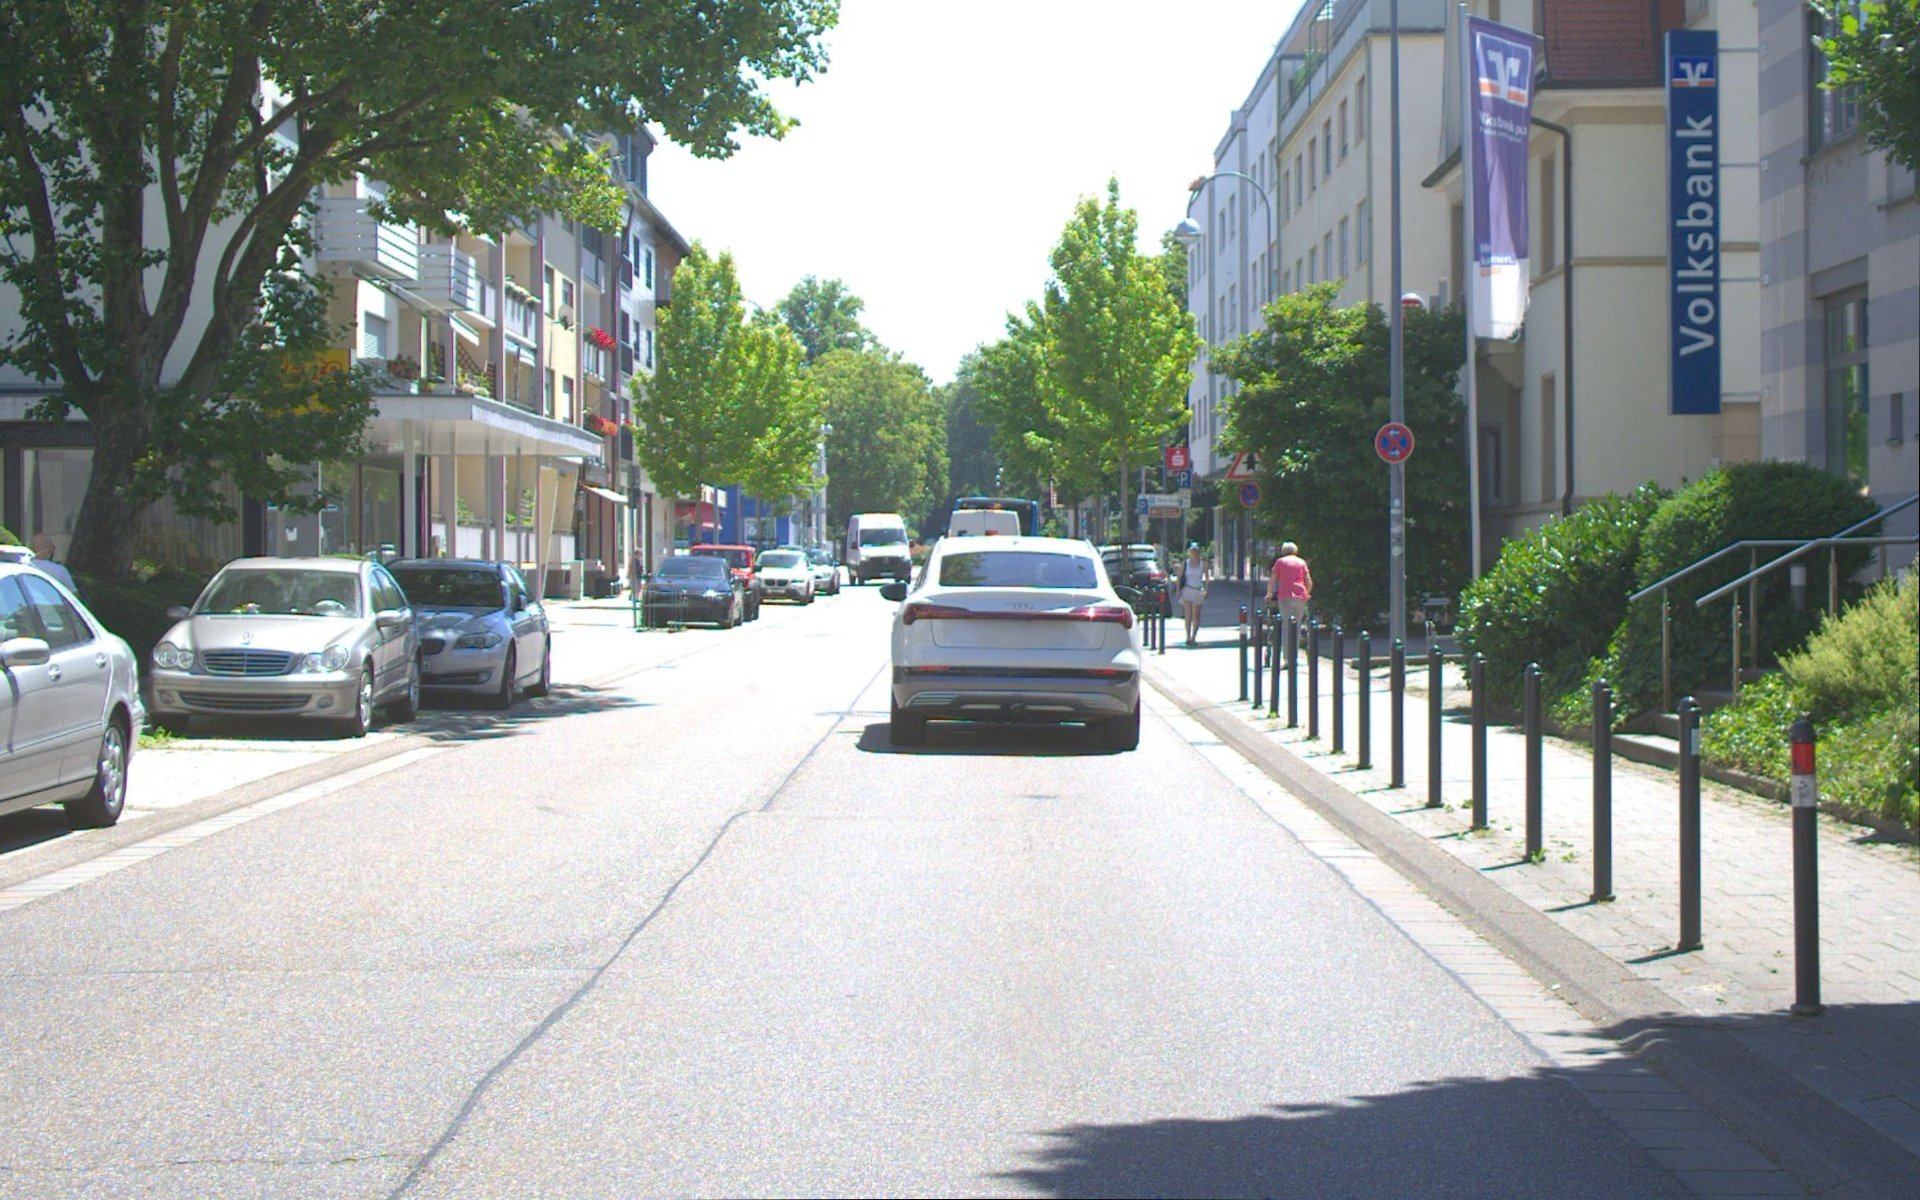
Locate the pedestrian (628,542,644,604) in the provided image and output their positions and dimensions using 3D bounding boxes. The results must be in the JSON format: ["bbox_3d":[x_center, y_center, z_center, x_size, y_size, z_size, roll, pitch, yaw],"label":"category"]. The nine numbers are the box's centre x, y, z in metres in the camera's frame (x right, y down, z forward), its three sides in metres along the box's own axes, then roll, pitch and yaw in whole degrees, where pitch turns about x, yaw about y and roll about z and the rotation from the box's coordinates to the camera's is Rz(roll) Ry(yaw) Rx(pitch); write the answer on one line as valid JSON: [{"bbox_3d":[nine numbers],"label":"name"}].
[{"bbox_3d":[-9.051,-0.760,96.066,0.394,1.729,0.446,0,1,-10],"label":"pedestrian"}]

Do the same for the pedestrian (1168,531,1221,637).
[{"bbox_3d":[3.696,-0.256,54.247,0.700,1.621,0.784,-3,0,-1],"label":"pedestrian"}]

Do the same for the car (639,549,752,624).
[{"bbox_3d":[-5.372,-0.301,70.364,1.896,1.412,5.048,2,1,0],"label":"car"}]

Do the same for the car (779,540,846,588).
[{"bbox_3d":[-4.748,-1.160,111.006,1.752,1.448,4.400,2,1,2],"label":"car"}]

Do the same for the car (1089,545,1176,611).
[{"bbox_3d":[3.849,-0.526,77.408,1.896,1.433,4.544,0,1,2],"label":"car"}]

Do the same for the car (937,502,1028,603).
[{"bbox_3d":[0.593,-1.205,87.424,2.156,2.433,5.283,2,1,1],"label":"car"}]

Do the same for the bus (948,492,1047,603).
[{"bbox_3d":[1.200,-1.609,105.874,2.661,3.210,7.300,2,1,3],"label":"bus"}]

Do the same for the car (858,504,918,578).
[{"bbox_3d":[-2.740,-2.213,129.079,2.036,2.621,7.108,-2,1,-2],"label":"car"}]

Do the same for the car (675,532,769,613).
[{"bbox_3d":[-5.286,-0.623,76.834,1.752,1.696,4.101,2,1,0],"label":"car"}]

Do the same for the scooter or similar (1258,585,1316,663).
[{"bbox_3d":[4.120,0.302,43.362,0.663,0.960,0.754,-1,1,1],"label":"scooter or similar"}]

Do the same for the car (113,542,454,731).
[{"bbox_3d":[-5.665,0.244,29.395,1.981,1.447,4.868,1,1,-1],"label":"car"}]

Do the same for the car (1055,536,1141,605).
[{"bbox_3d":[3.540,-0.785,88.898,1.855,1.669,4.537,-2,1,-2],"label":"car"}]

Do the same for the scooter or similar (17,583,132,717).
[{"bbox_3d":[-7.601,0.422,29.540,0.663,1.094,1.028,2,1,2],"label":"scooter or similar"}]

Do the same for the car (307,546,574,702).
[{"bbox_3d":[-5.232,0.191,35.285,1.981,1.447,5.151,1,1,-1],"label":"car"}]

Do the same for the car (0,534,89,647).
[{"bbox_3d":[-13.418,-0.157,47.053,1.891,1.481,3.996,-1,1,-30],"label":"car"}]

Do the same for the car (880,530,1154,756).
[{"bbox_3d":[0.397,0.285,27.455,1.993,1.627,4.000,1,1,-1],"label":"car"}]

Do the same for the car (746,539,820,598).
[{"bbox_3d":[-5.134,-0.936,100.145,1.752,1.612,4.400,2,1,2],"label":"car"}]

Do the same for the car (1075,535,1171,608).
[{"bbox_3d":[3.935,-0.713,83.547,1.896,1.669,4.691,-2,1,-2],"label":"car"}]

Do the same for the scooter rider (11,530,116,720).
[{"bbox_3d":[-7.595,0.200,29.153,0.588,1.570,0.877,2,1,2],"label":"scooter rider"}]

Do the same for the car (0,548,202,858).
[{"bbox_3d":[-5.525,0.463,17.670,1.981,1.447,5.357,1,1,1],"label":"car"}]

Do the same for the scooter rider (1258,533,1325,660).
[{"bbox_3d":[4.114,-0.052,42.705,0.716,1.543,0.770,-1,1,-1],"label":"scooter rider"}]
